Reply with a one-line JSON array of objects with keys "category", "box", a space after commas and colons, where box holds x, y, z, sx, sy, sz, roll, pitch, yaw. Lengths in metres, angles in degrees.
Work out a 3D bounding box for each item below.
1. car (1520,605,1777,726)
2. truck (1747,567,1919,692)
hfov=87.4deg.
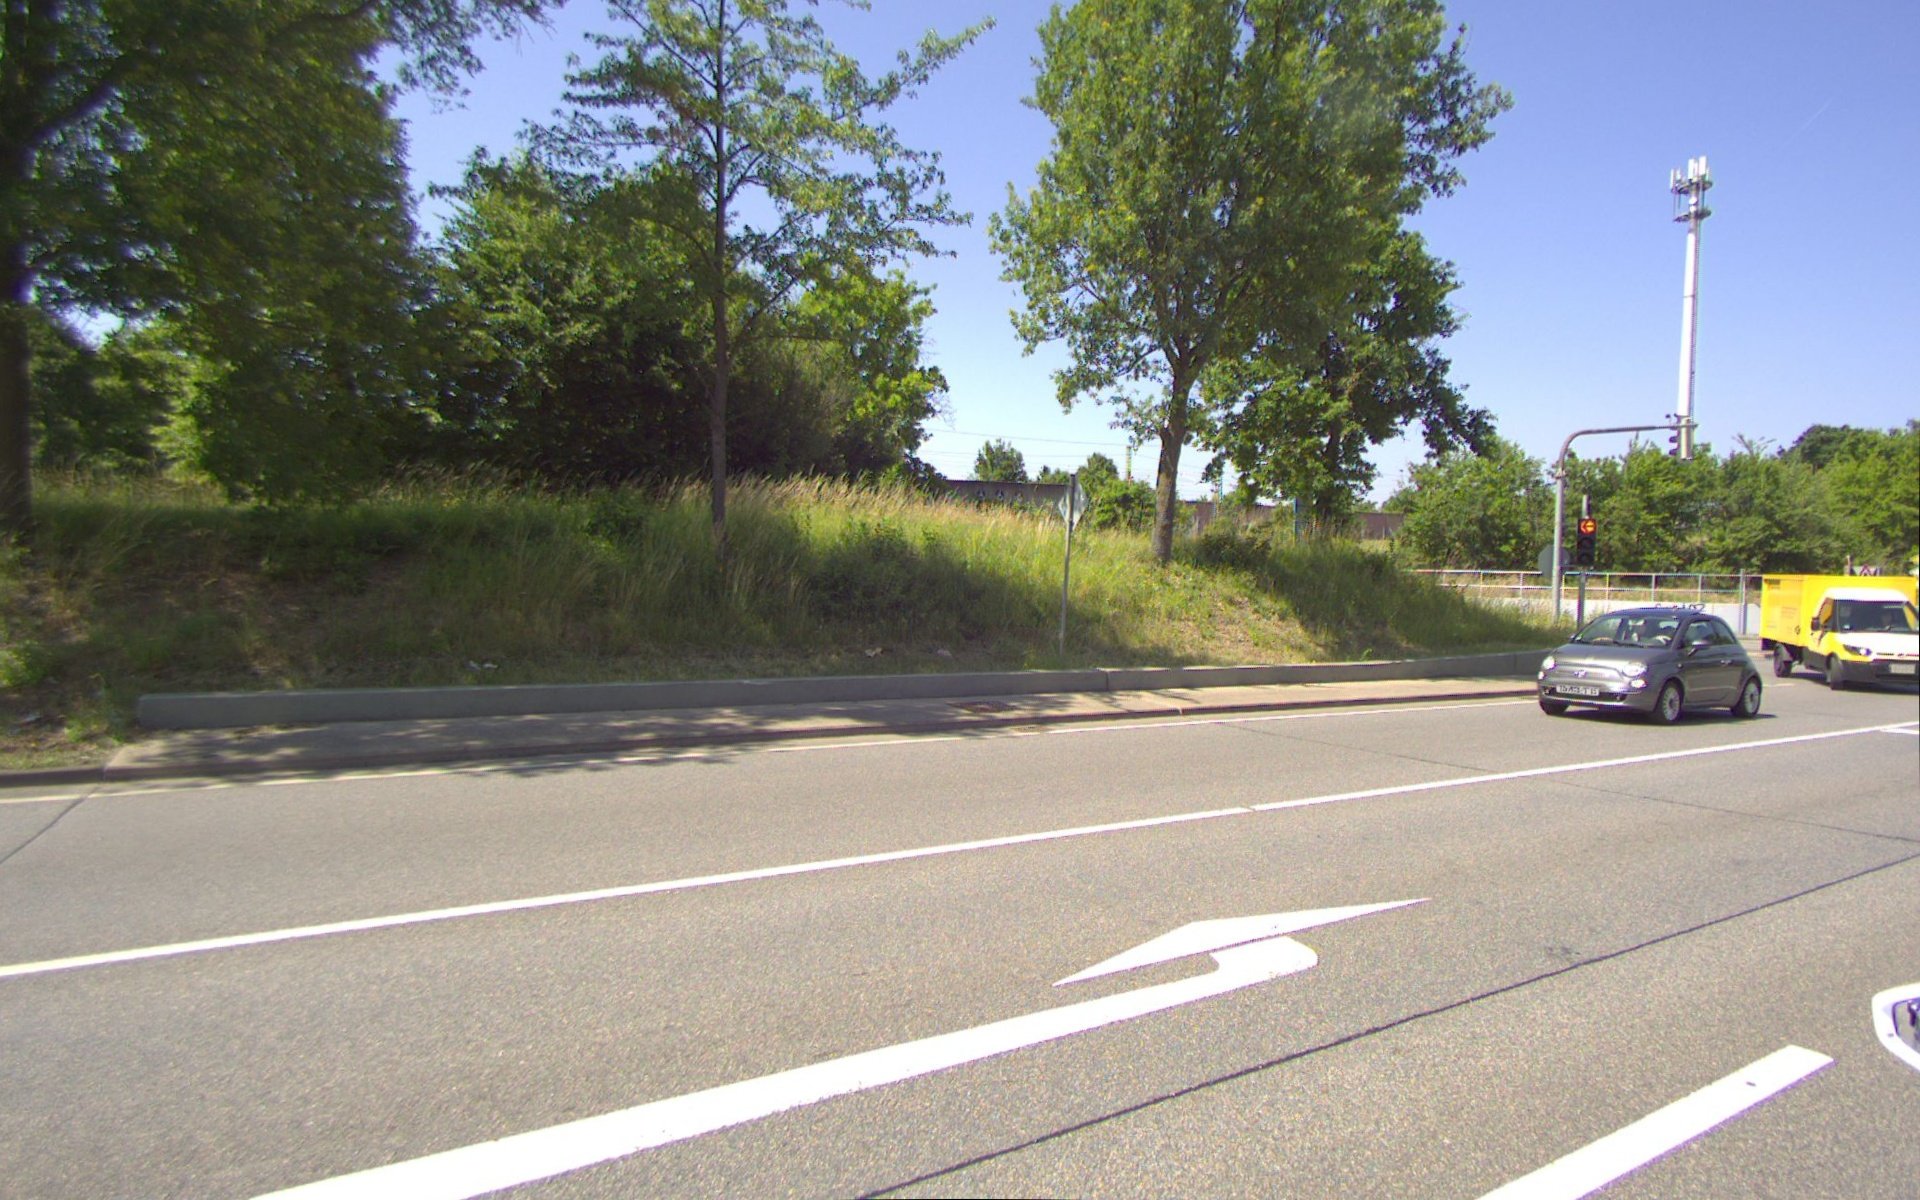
[{"category": "car", "box": [9.735, 0.850, 14.164, 3.557, 1.489, 1.579, 1, 0, -29]}, {"category": "truck", "box": [18.735, 0.539, 21.232, 1.947, 2.305, 6.019, 1, 1, 25]}]
